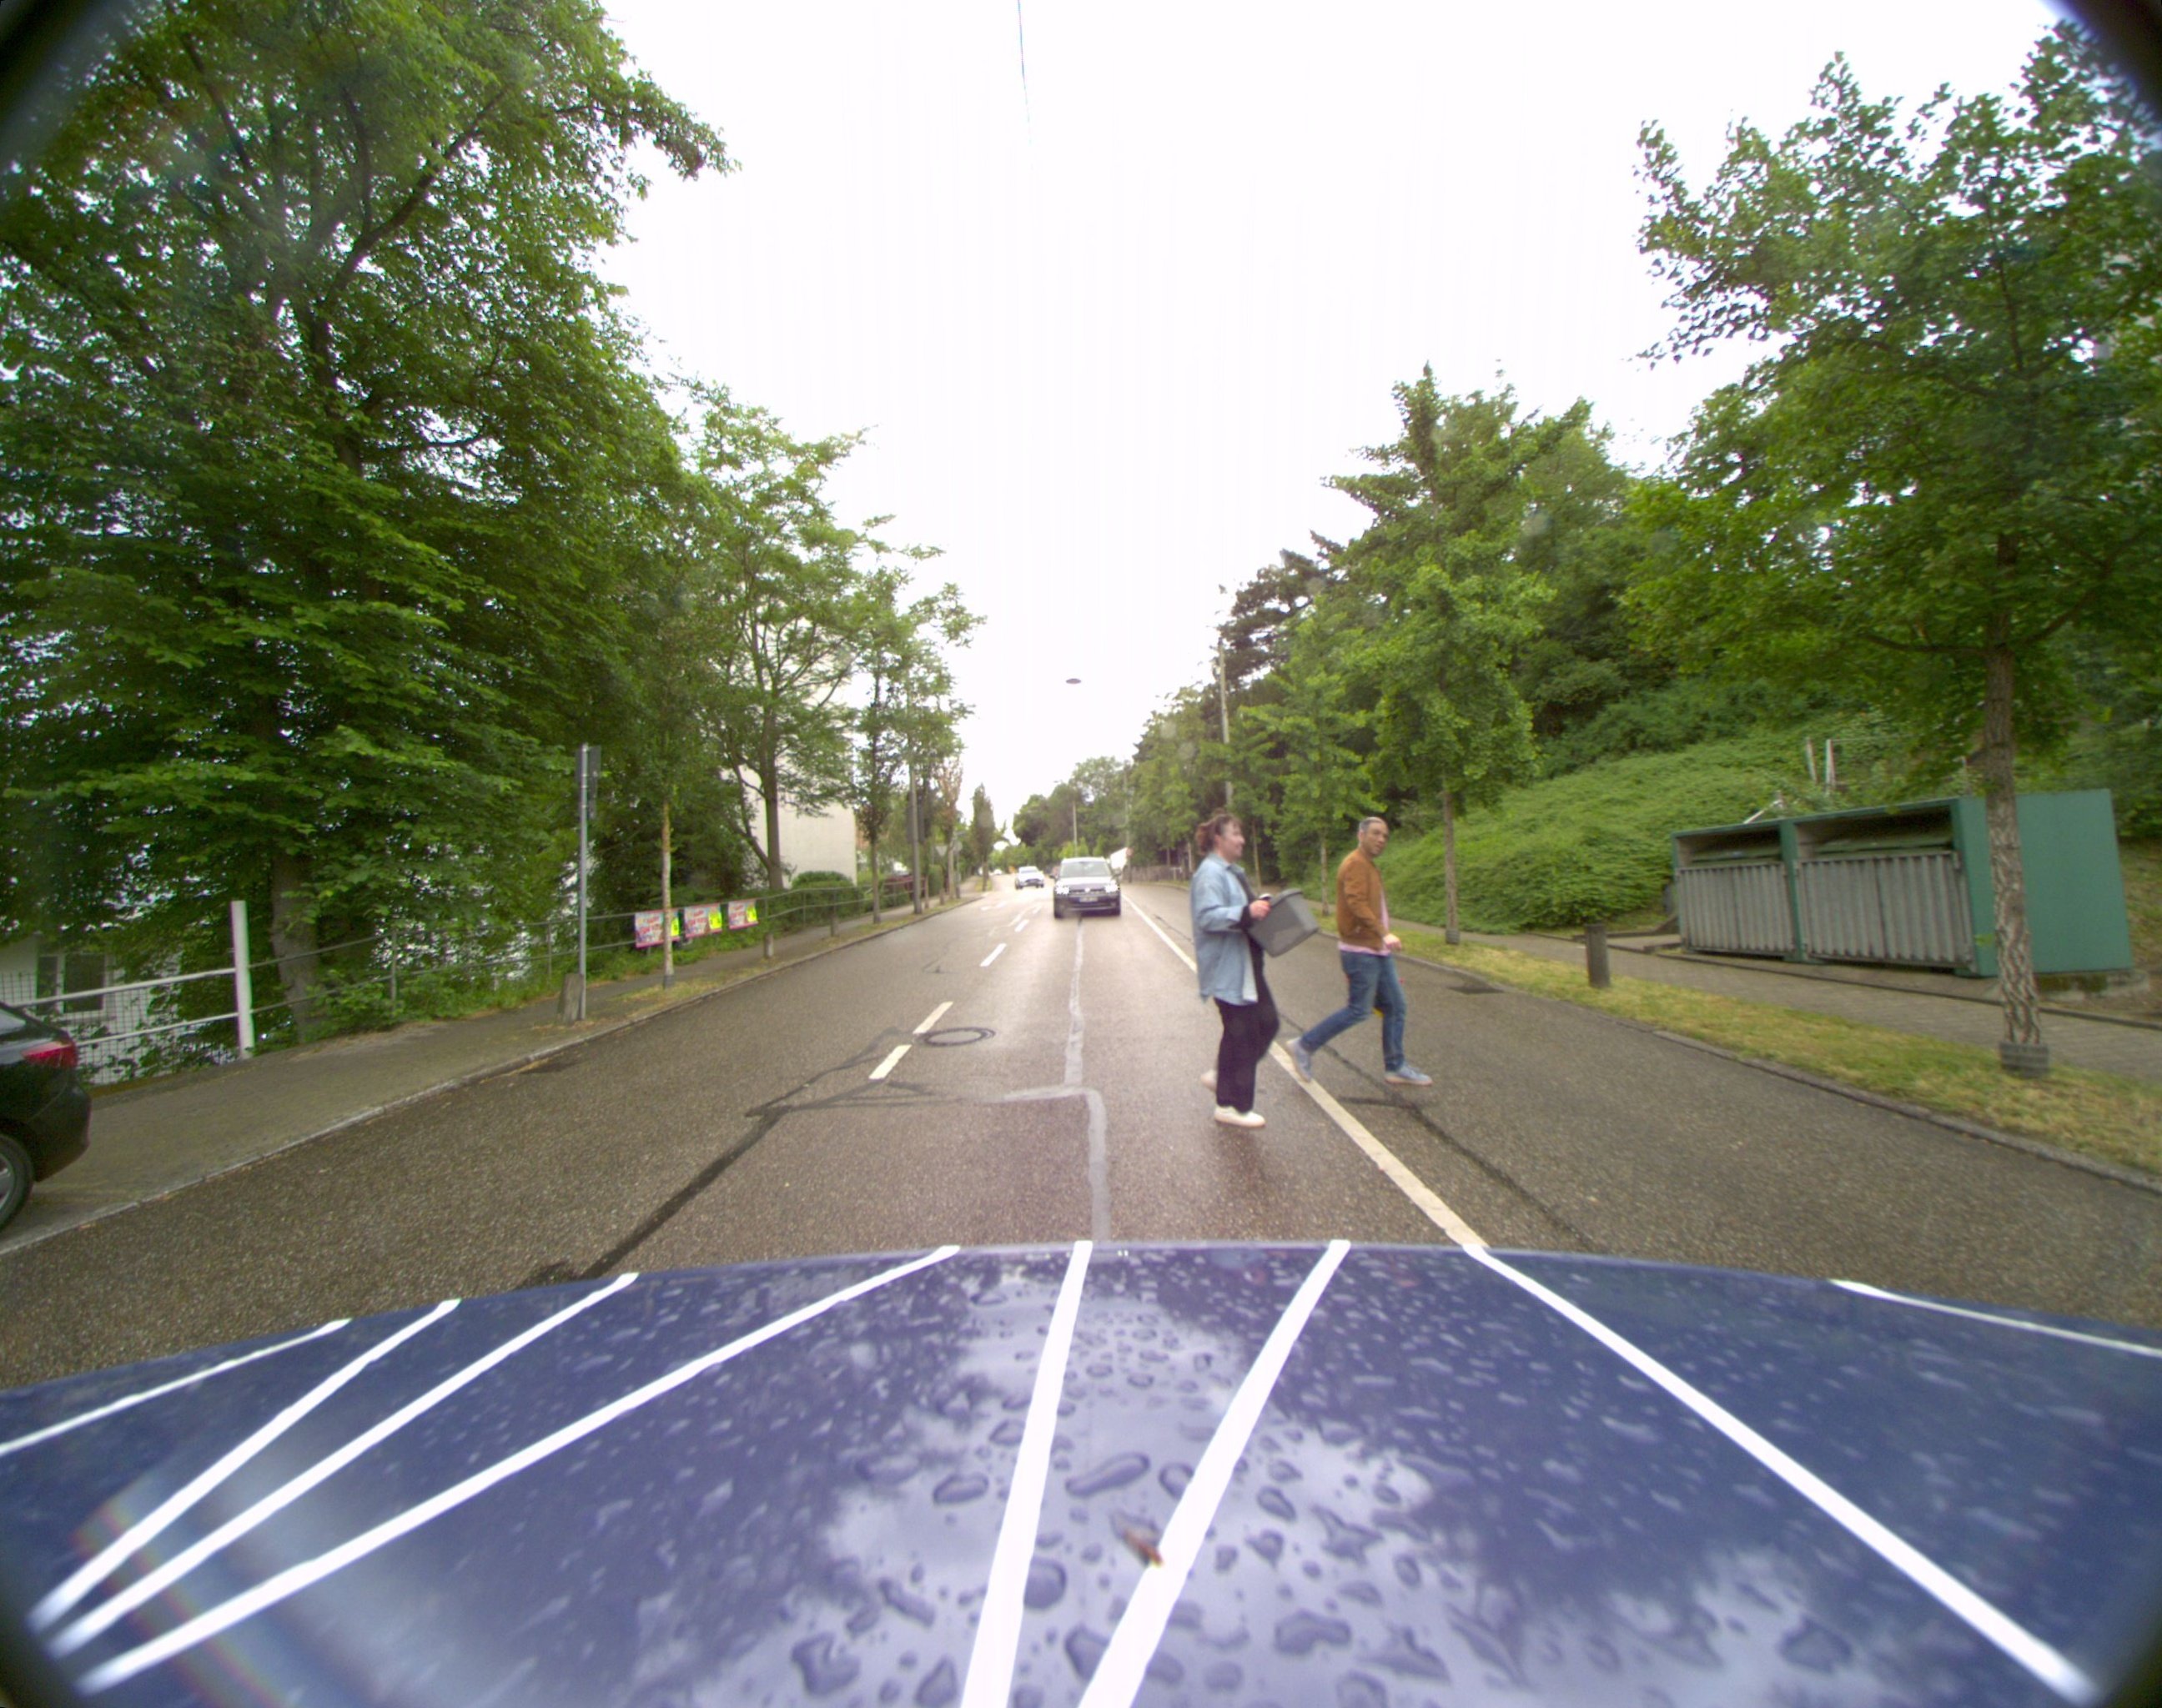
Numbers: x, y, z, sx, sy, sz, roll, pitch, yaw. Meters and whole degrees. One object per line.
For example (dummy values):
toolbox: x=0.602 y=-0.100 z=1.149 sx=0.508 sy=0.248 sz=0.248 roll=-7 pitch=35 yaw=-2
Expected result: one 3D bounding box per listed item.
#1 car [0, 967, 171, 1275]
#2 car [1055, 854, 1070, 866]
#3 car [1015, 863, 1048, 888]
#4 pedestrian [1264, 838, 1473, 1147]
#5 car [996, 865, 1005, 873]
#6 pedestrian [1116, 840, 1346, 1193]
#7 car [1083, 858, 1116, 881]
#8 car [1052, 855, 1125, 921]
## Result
car: x=-6.331 y=1.373 z=2.238 sx=1.999 sy=1.426 sz=4.442 roll=0 pitch=0 yaw=-1
car: x=-2.317 y=0.788 z=96.459 sx=1.782 sy=1.440 sz=4.000 roll=0 pitch=0 yaw=0
car: x=-3.746 y=1.556 z=56.818 sx=1.836 sy=1.608 sz=4.346 roll=-3 pitch=1 yaw=-11
pedestrian: x=1.896 y=0.795 z=5.002 sx=1.070 sy=1.772 sz=0.826 roll=0 pitch=1 yaw=38
car: x=-19.225 y=3.525 z=181.935 sx=1.892 sy=1.710 sz=4.235 roll=-1 pitch=1 yaw=-3
pedestrian: x=0.895 y=0.850 z=4.373 sx=1.071 sy=1.772 sz=0.825 roll=-4 pitch=1 yaw=19
car: x=1.253 y=1.040 z=52.651 sx=1.714 sy=1.522 sz=3.839 roll=0 pitch=0 yaw=-8
car: x=0.226 y=0.891 z=22.272 sx=1.834 sy=1.608 sz=4.292 roll=-3 pitch=1 yaw=1
